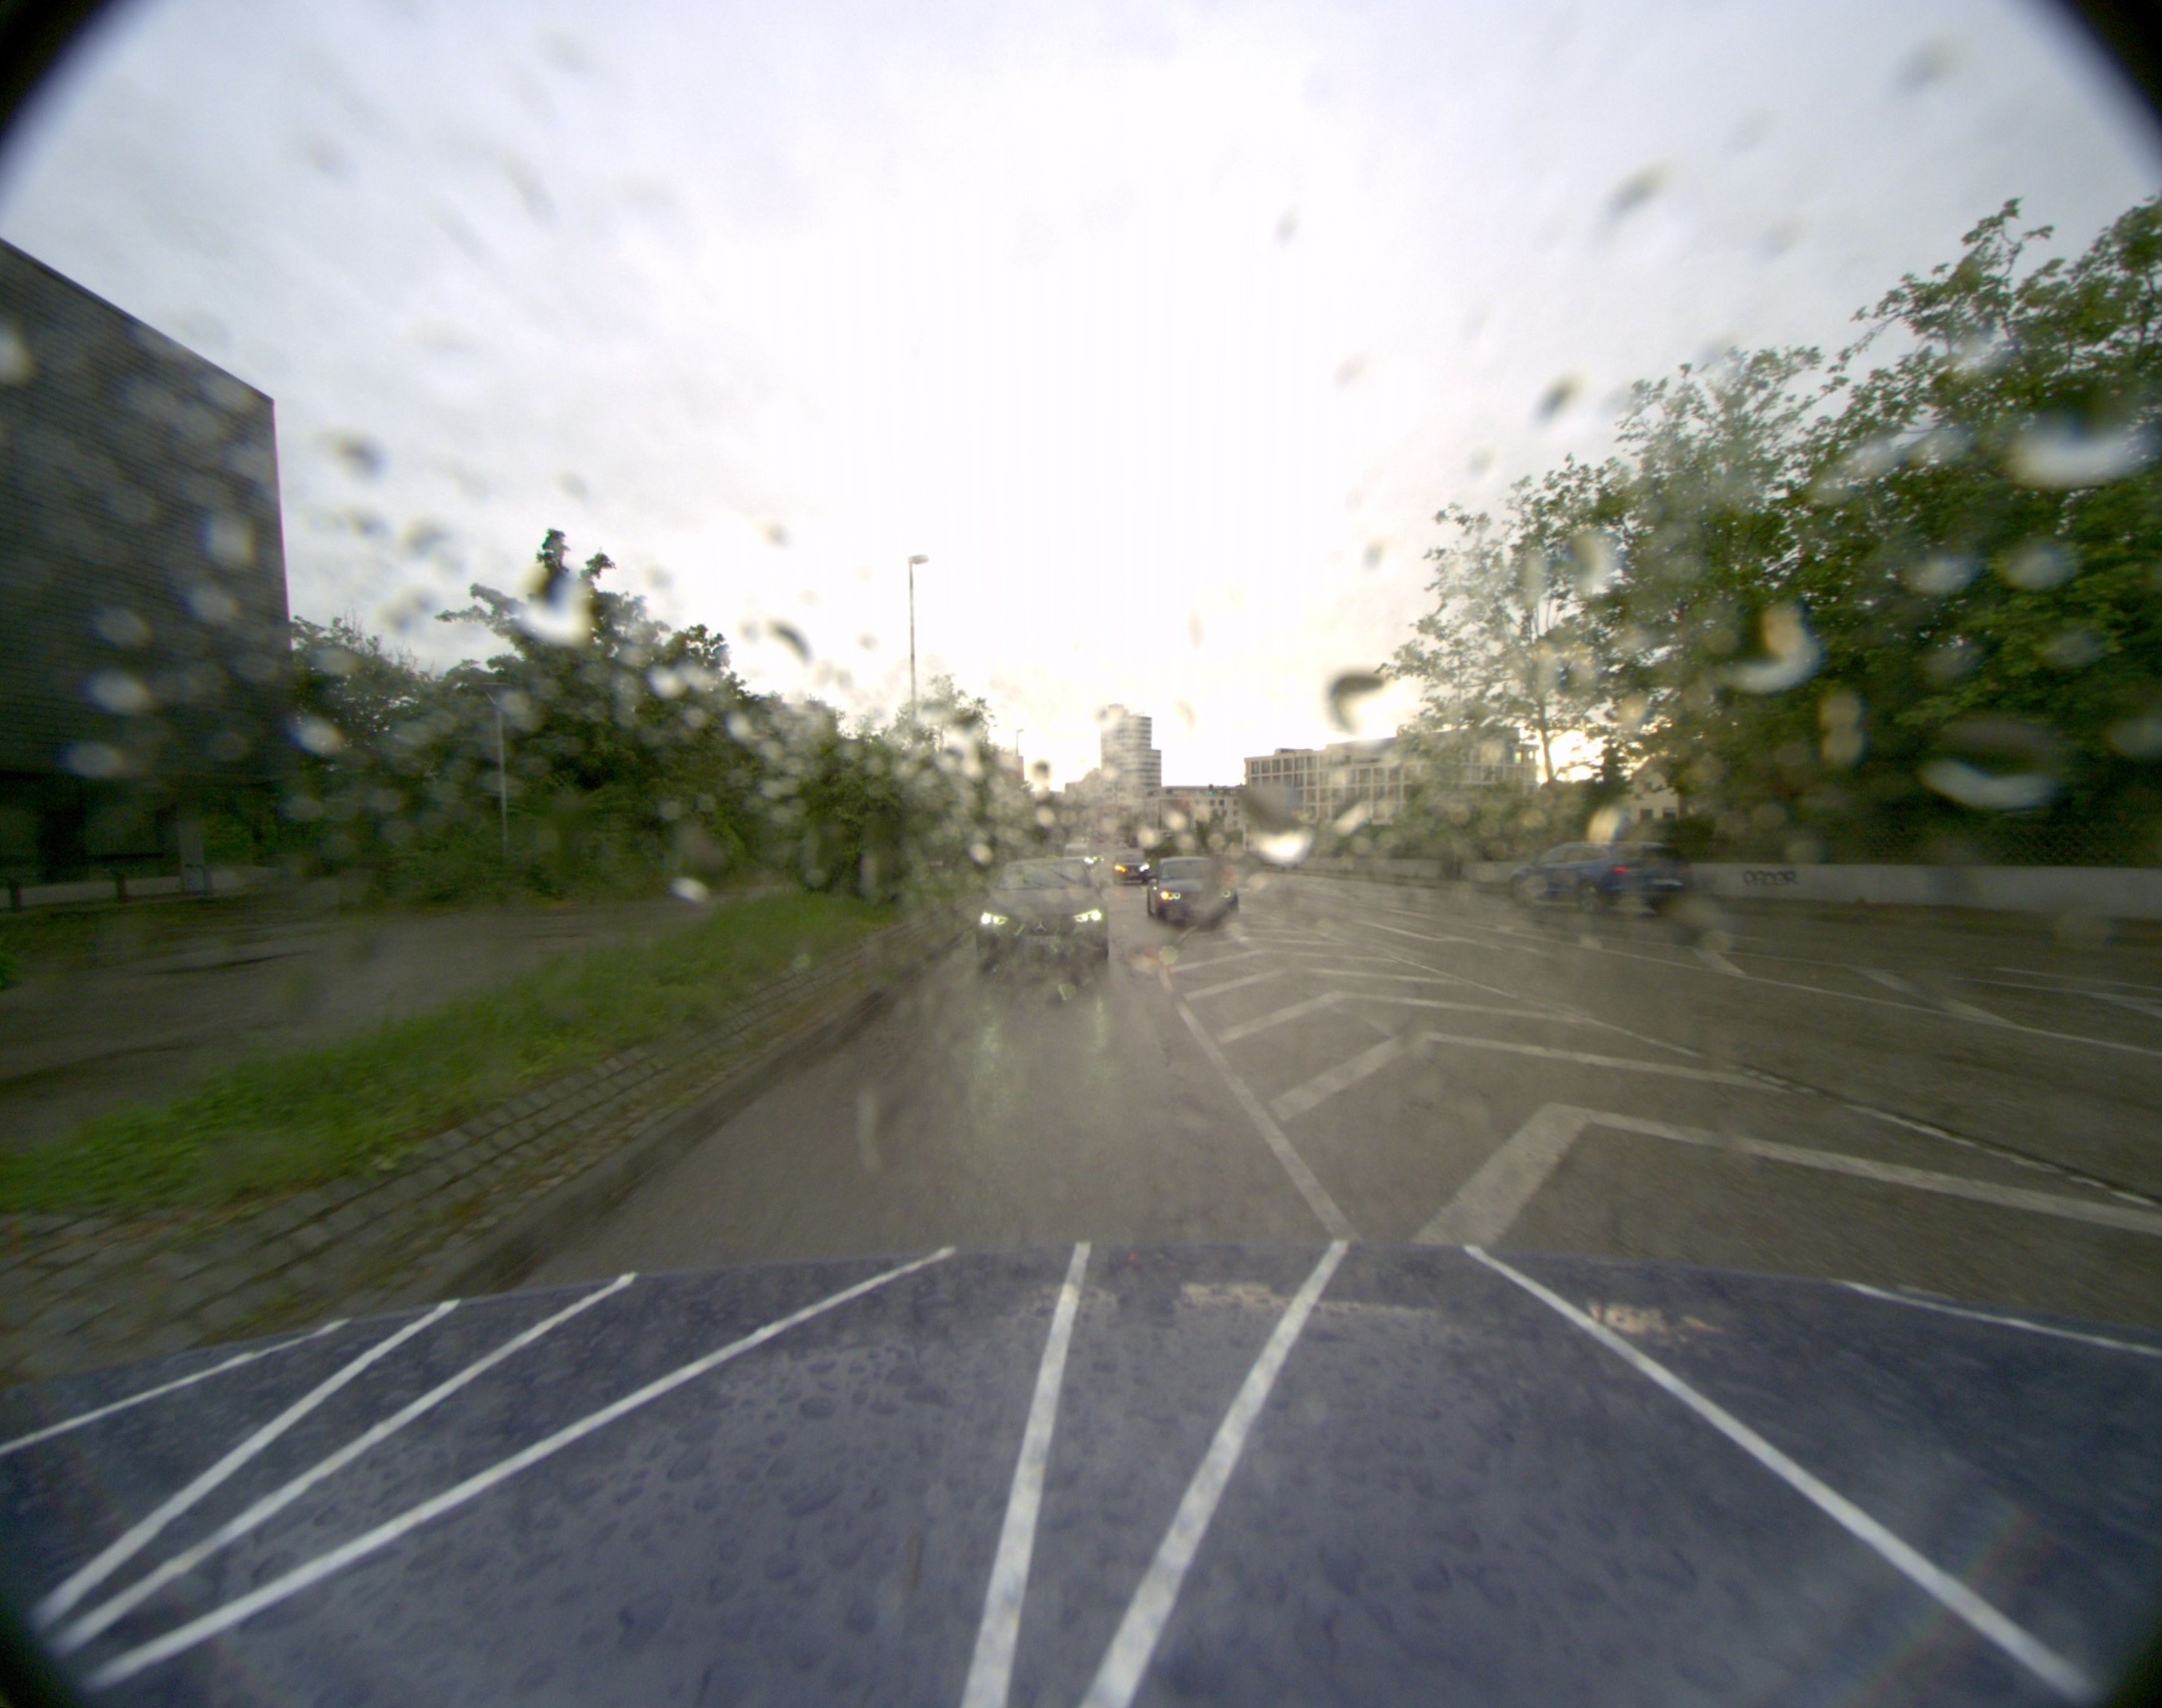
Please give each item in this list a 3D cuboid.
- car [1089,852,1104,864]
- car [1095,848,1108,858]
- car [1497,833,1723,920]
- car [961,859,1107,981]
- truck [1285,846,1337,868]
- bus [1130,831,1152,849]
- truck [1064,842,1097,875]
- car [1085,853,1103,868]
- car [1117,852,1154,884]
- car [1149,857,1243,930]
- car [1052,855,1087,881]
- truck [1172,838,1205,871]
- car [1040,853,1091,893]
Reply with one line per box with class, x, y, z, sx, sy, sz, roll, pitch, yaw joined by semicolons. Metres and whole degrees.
car;2.117;0.537;105.943;1.998;1.543;4.000;-1;0;1
car;3.301;-0.155;124.332;1.998;1.543;4.000;-1;0;1
car;11.962;0.392;17.677;1.998;1.683;4.704;-2;2;0
car;-0.548;0.896;12.389;1.836;1.436;4.550;-2;1;2
truck;28.962;0.379;95.678;6.182;2.524;2.223;1;2;-21
bus;14.034;-3.433;180.029;2.951;3.973;18.219;1;2;-2
truck;0.000;0.276;61.427;2.168;2.426;6.200;-1;1;4
car;1.456;0.712;87.227;1.998;1.543;4.000;-1;0;1
car;2.751;0.664;38.500;1.717;1.369;3.735;-2;1;4
car;2.482;0.811;17.203;1.786;1.335;3.705;-1;1;4
car;-0.663;0.817;46.048;1.717;1.369;3.735;-2;1;4
truck;8.425;-0.020;60.033;2.168;2.426;6.200;-1;1;4
car;-0.576;0.750;31.511;1.717;1.389;4.036;-2;1;4
